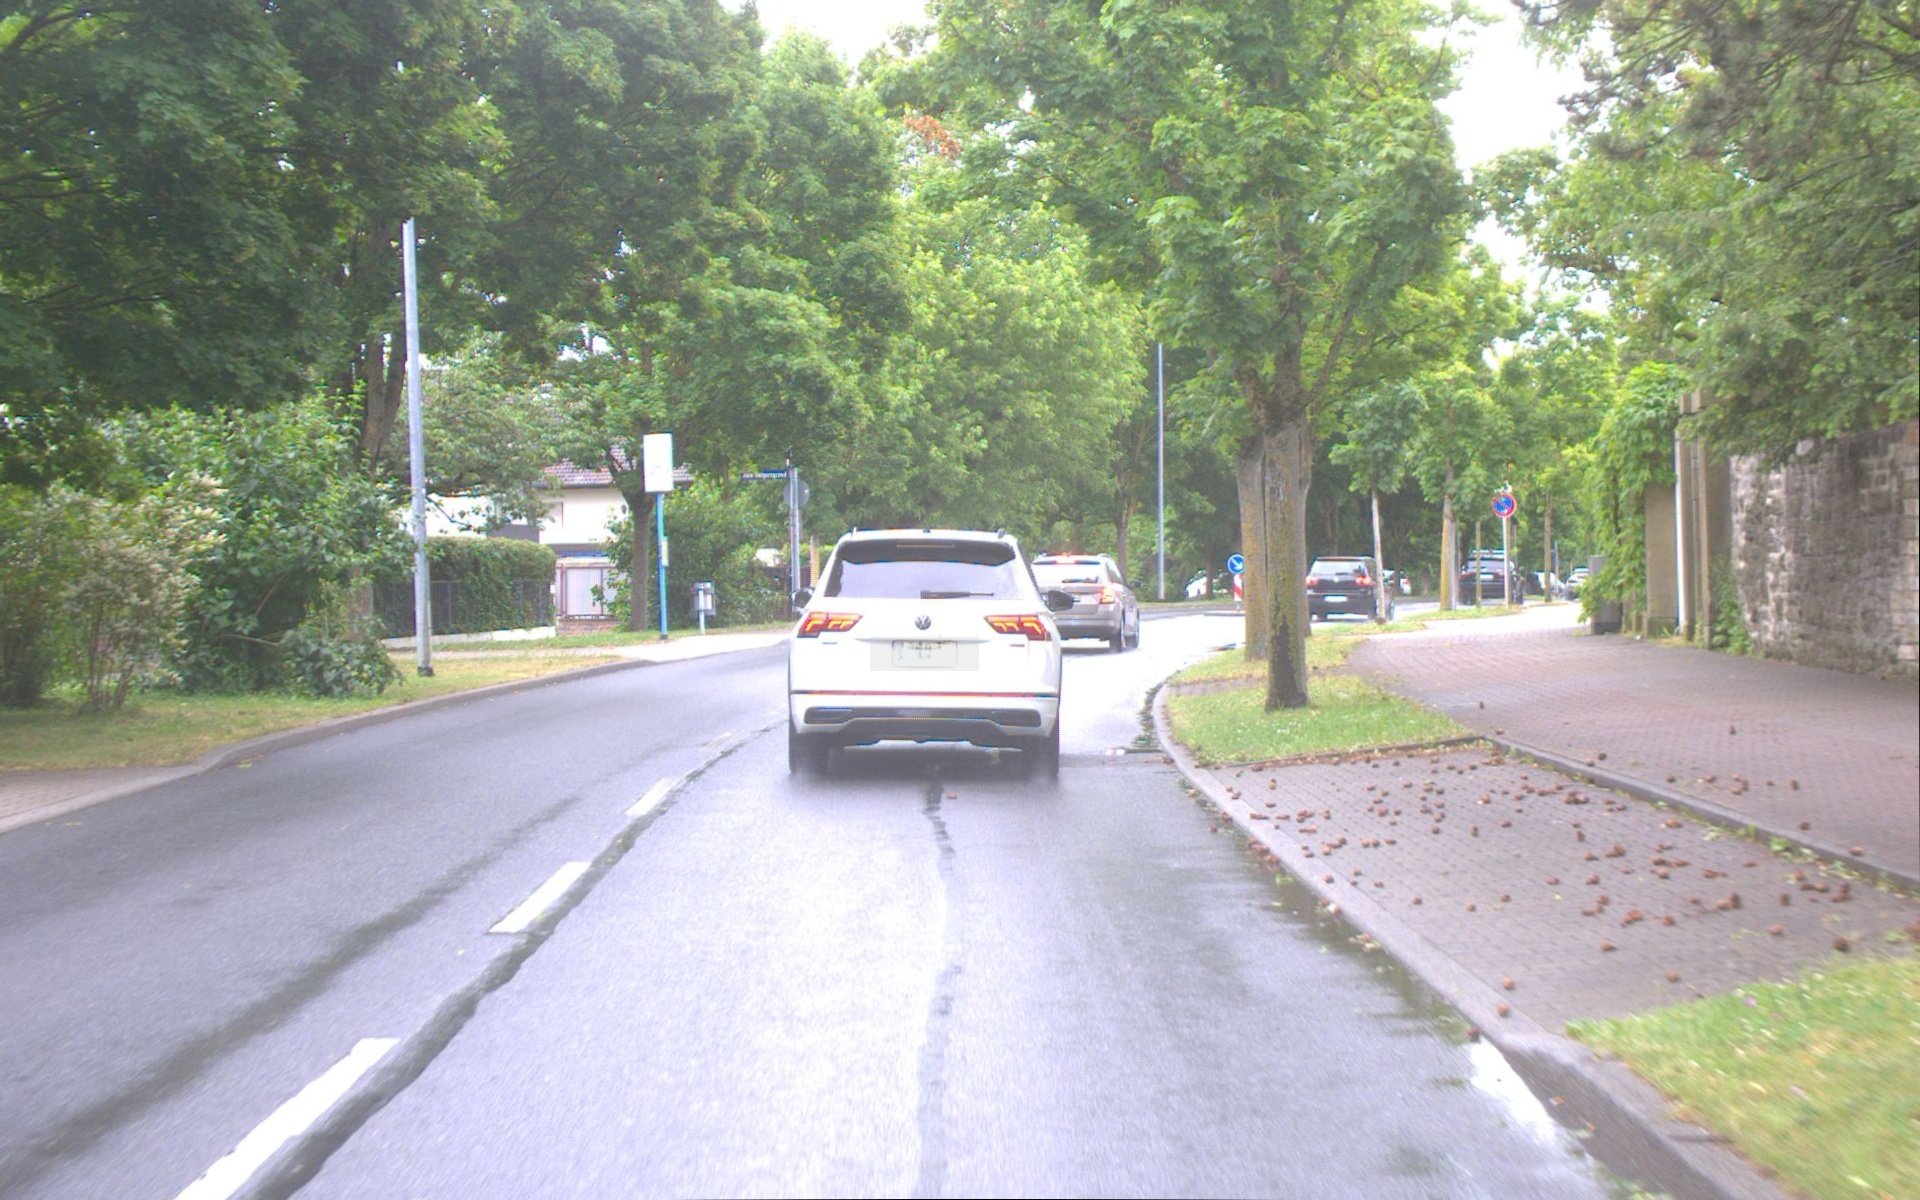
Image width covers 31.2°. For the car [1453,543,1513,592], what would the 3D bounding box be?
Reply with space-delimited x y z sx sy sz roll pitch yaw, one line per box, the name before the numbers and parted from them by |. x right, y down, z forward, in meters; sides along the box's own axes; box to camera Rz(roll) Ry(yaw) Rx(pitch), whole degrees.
car | 17.013 -1.037 111.926 1.841 1.482 3.999 -3 0 8

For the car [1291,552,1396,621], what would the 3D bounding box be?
car | 8.746 -0.332 78.229 1.842 1.482 3.998 2 1 14

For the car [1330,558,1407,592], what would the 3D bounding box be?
car | 18.670 -1.122 157.238 1.841 1.477 4.001 -1 0 -20

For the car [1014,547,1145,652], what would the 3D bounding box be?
car | 1.872 -0.009 52.962 1.841 1.482 3.999 -3 0 4

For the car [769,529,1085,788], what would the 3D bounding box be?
car | -0.283 0.352 24.026 1.996 1.626 4.000 1 1 -2

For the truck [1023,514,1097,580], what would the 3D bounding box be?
truck | 4.071 -2.119 139.059 2.285 2.588 5.872 -1 0 8

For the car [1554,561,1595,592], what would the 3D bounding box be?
car | 27.763 -1.060 155.217 1.638 1.322 3.998 1 1 12
